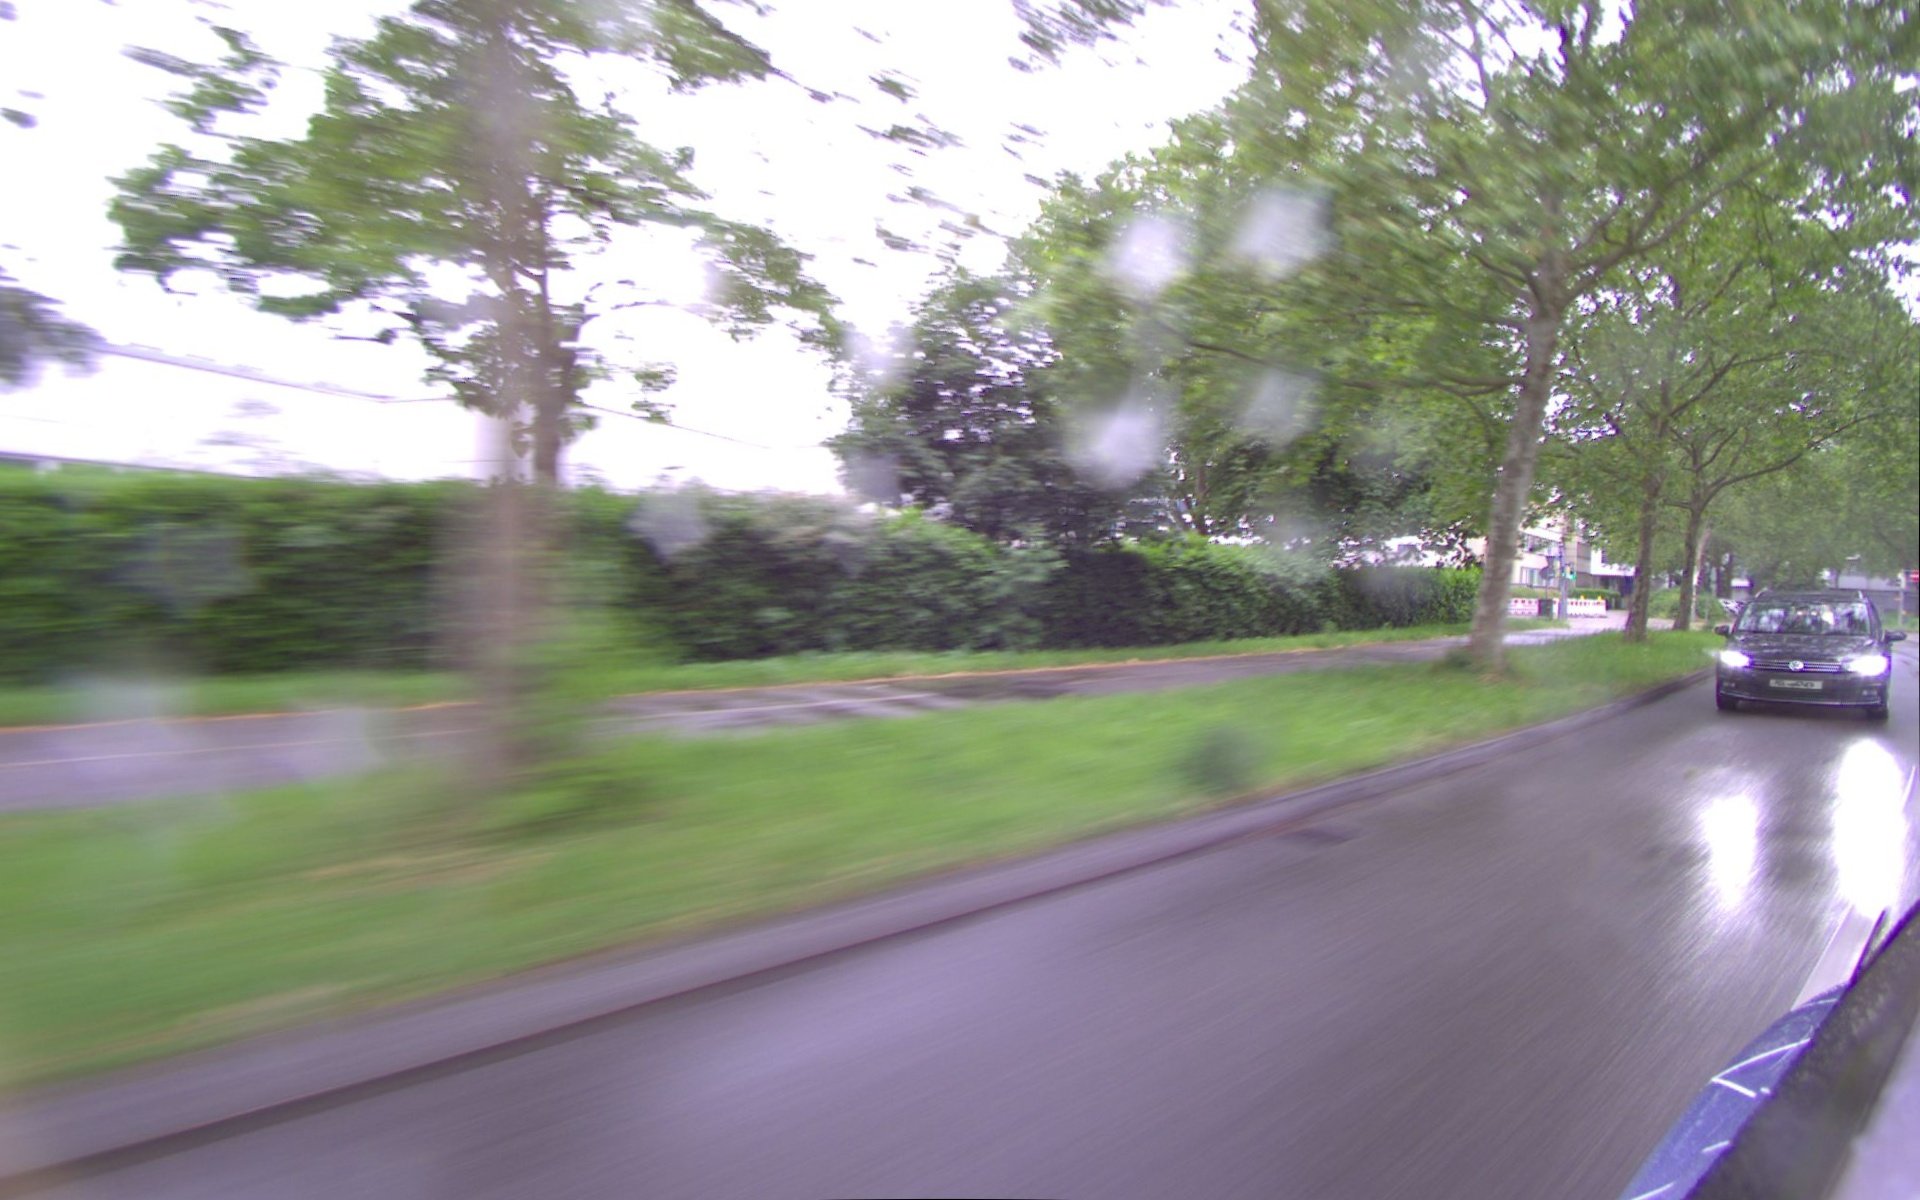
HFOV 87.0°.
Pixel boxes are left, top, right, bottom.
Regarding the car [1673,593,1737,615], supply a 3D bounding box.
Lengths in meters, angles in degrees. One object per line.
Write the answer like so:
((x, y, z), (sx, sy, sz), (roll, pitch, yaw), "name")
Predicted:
((58.937, 0.271, 80.056), (3.981, 1.575, 1.760), (3, 1, 39), "car")

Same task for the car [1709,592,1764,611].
((72.564, 0.120, 94.565), (3.981, 1.575, 1.760), (3, 1, 39), "car")

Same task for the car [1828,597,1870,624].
((54.929, 0.639, 62.574), (1.777, 1.575, 3.943), (2, 1, 39), "car")

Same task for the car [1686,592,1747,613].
((62.752, 0.230, 83.928), (3.981, 1.575, 1.760), (3, 1, 39), "car")

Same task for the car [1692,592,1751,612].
((66.288, 0.185, 88.094), (3.981, 1.575, 1.760), (3, 1, 39), "car")

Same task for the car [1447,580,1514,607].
((37.589, -0.509, 73.132), (3.982, 1.792, 1.760), (3, 1, 40), "car")

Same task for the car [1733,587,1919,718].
((12.103, 0.636, 14.241), (1.777, 1.575, 3.942), (-1, -1, 40), "car")
